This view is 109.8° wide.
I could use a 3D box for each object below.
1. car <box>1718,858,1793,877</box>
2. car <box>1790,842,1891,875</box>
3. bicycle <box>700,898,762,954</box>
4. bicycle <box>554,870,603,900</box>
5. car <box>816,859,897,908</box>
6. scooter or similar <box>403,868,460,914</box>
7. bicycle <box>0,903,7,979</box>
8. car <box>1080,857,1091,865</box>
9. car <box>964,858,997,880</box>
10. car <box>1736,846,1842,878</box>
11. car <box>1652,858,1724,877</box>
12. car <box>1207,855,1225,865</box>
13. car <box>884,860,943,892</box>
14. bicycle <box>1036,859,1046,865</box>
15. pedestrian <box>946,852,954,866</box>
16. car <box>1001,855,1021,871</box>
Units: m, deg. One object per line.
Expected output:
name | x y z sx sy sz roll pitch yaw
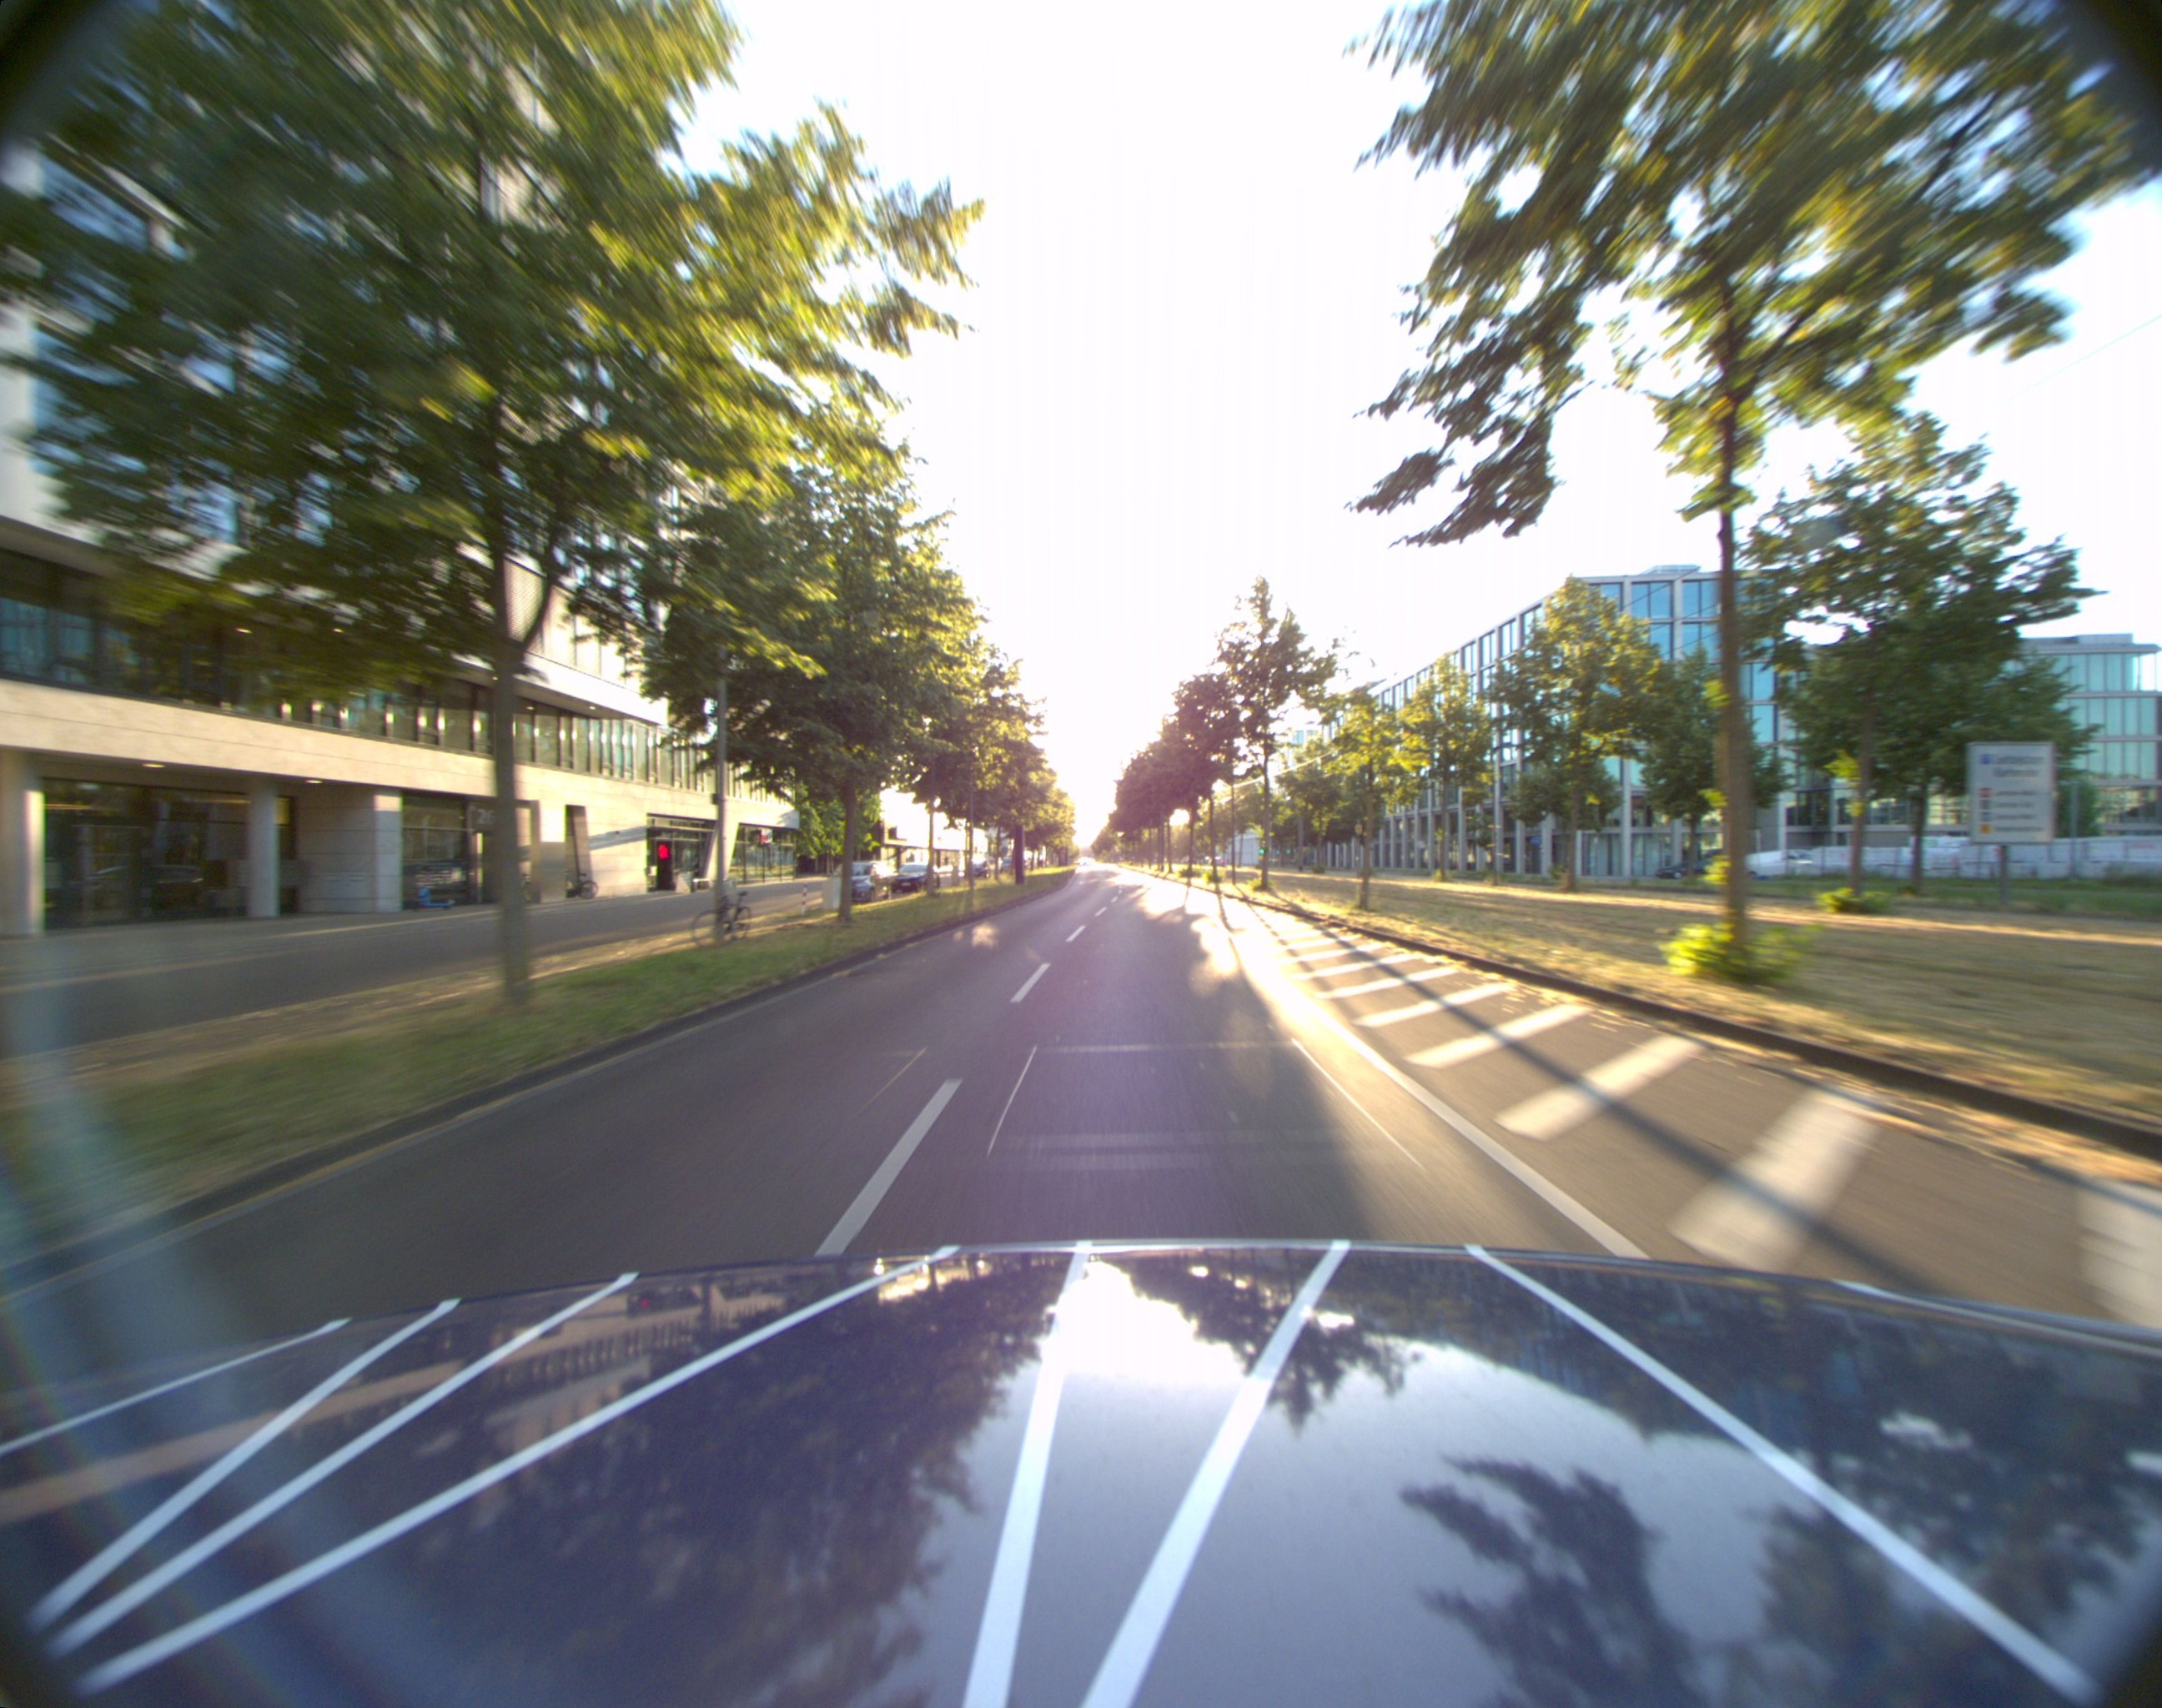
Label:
car | 51.980 1.033 58.585 3.995 1.437 1.895 0 0 4
car | 57.939 0.343 58.017 5.493 2.453 1.973 0 0 5
bicycle | -6.009 1.221 13.116 0.316 0.818 1.552 0 0 2
bicycle | -17.824 1.092 26.973 0.454 1.022 1.396 0 0 27
car | -7.849 0.989 26.960 1.714 1.506 3.759 -3 0 0
scooter or similar | -17.910 1.008 20.987 0.473 1.204 1.229 0 0 2
bicycle | -14.991 1.185 9.430 0.596 1.033 1.892 0 0 1
car | 0.841 1.300 146.564 1.999 1.473 4.335 0 -1 0
car | -7.531 1.089 57.106 1.785 1.485 4.000 -3 0 1
car | 46.100 0.482 49.660 2.212 2.002 5.084 0 0 1
car | 47.108 1.018 59.018 3.996 1.437 1.895 0 0 3
car | 21.259 0.959 119.663 1.907 1.477 4.630 0 0 -1
car | -7.928 1.002 36.355 1.857 1.359 4.833 0 0 -1
bicycle | -6.648 1.302 125.500 1.718 0.905 0.363 -1 0 33
pedestrian | -15.716 0.600 91.222 0.899 1.786 0.912 0 0 -1
car | -7.454 0.949 81.269 1.843 1.561 4.061 -1 0 0
